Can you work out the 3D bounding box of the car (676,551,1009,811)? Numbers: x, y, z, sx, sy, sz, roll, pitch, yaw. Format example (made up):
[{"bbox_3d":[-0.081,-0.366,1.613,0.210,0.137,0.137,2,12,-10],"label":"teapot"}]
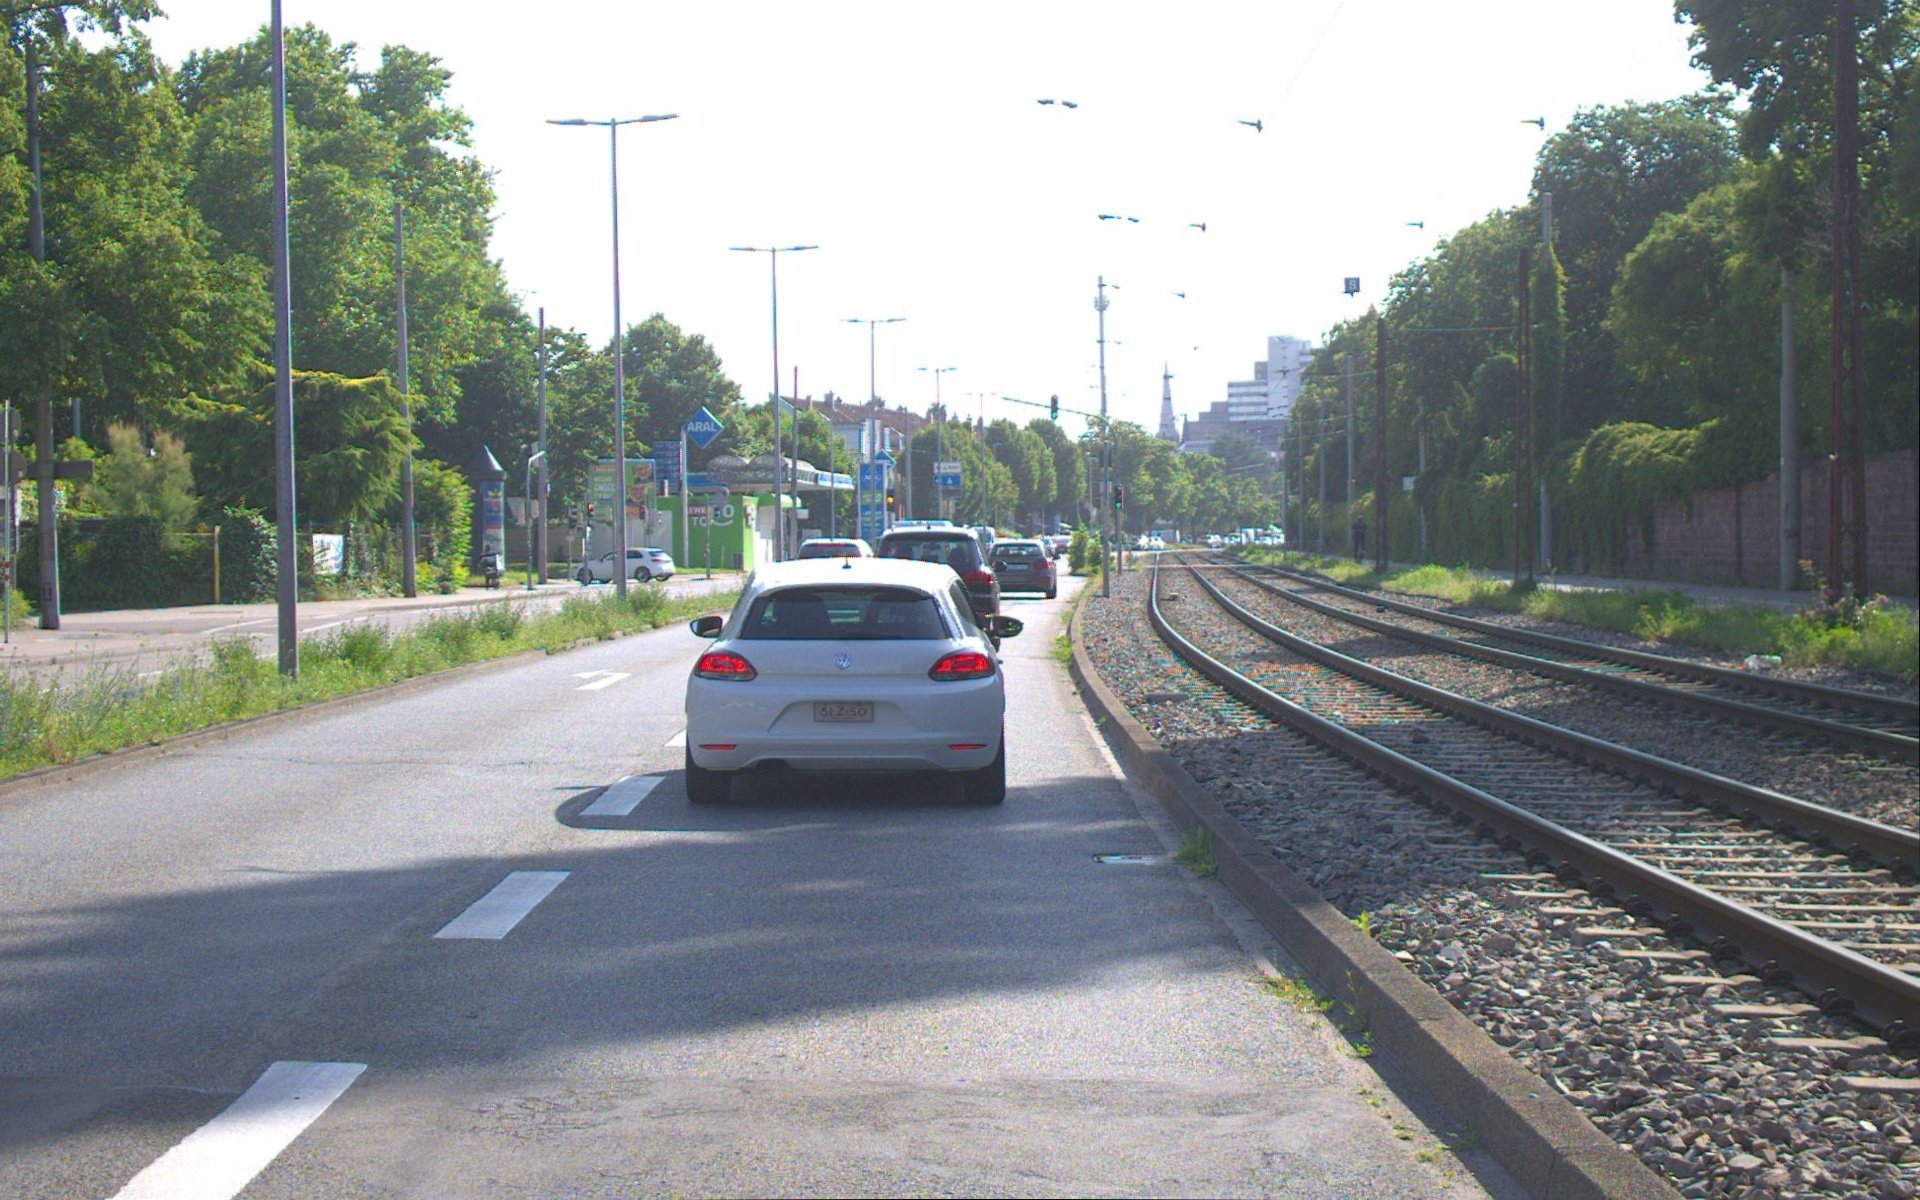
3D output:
[{"bbox_3d":[-0.648,0.413,20.400,1.781,1.351,3.601,1,1,0],"label":"car"}]

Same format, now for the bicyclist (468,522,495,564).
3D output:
[{"bbox_3d":[-16.562,-1.980,119.000,0.662,1.447,1.050,-1,1,7],"label":"bicyclist"}]

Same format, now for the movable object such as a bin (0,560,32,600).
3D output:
[{"bbox_3d":[-22.725,-0.475,82.185,0.816,0.928,0.853,-1,1,3],"label":"movable object such as a bin"}]

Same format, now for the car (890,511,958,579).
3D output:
[{"bbox_3d":[-1.042,-1.652,102.779,1.818,1.956,4.402,-1,1,2],"label":"car"}]

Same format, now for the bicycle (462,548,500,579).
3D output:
[{"bbox_3d":[-16.560,-1.282,118.957,0.662,1.046,2.580,-1,1,7],"label":"bicycle"}]

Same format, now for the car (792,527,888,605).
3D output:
[{"bbox_3d":[-2.373,-0.706,68.997,1.760,1.480,4.645,1,1,0],"label":"car"}]

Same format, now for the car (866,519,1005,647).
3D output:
[{"bbox_3d":[-0.326,-0.257,45.091,1.724,1.587,3.601,1,1,0],"label":"car"}]

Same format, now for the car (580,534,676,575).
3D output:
[{"bbox_3d":[-13.749,-1.889,142.208,3.593,1.583,1.697,2,1,30],"label":"car"}]

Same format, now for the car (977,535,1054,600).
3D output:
[{"bbox_3d":[1.312,-0.799,83.001,1.749,1.480,3.601,1,1,0],"label":"car"}]
